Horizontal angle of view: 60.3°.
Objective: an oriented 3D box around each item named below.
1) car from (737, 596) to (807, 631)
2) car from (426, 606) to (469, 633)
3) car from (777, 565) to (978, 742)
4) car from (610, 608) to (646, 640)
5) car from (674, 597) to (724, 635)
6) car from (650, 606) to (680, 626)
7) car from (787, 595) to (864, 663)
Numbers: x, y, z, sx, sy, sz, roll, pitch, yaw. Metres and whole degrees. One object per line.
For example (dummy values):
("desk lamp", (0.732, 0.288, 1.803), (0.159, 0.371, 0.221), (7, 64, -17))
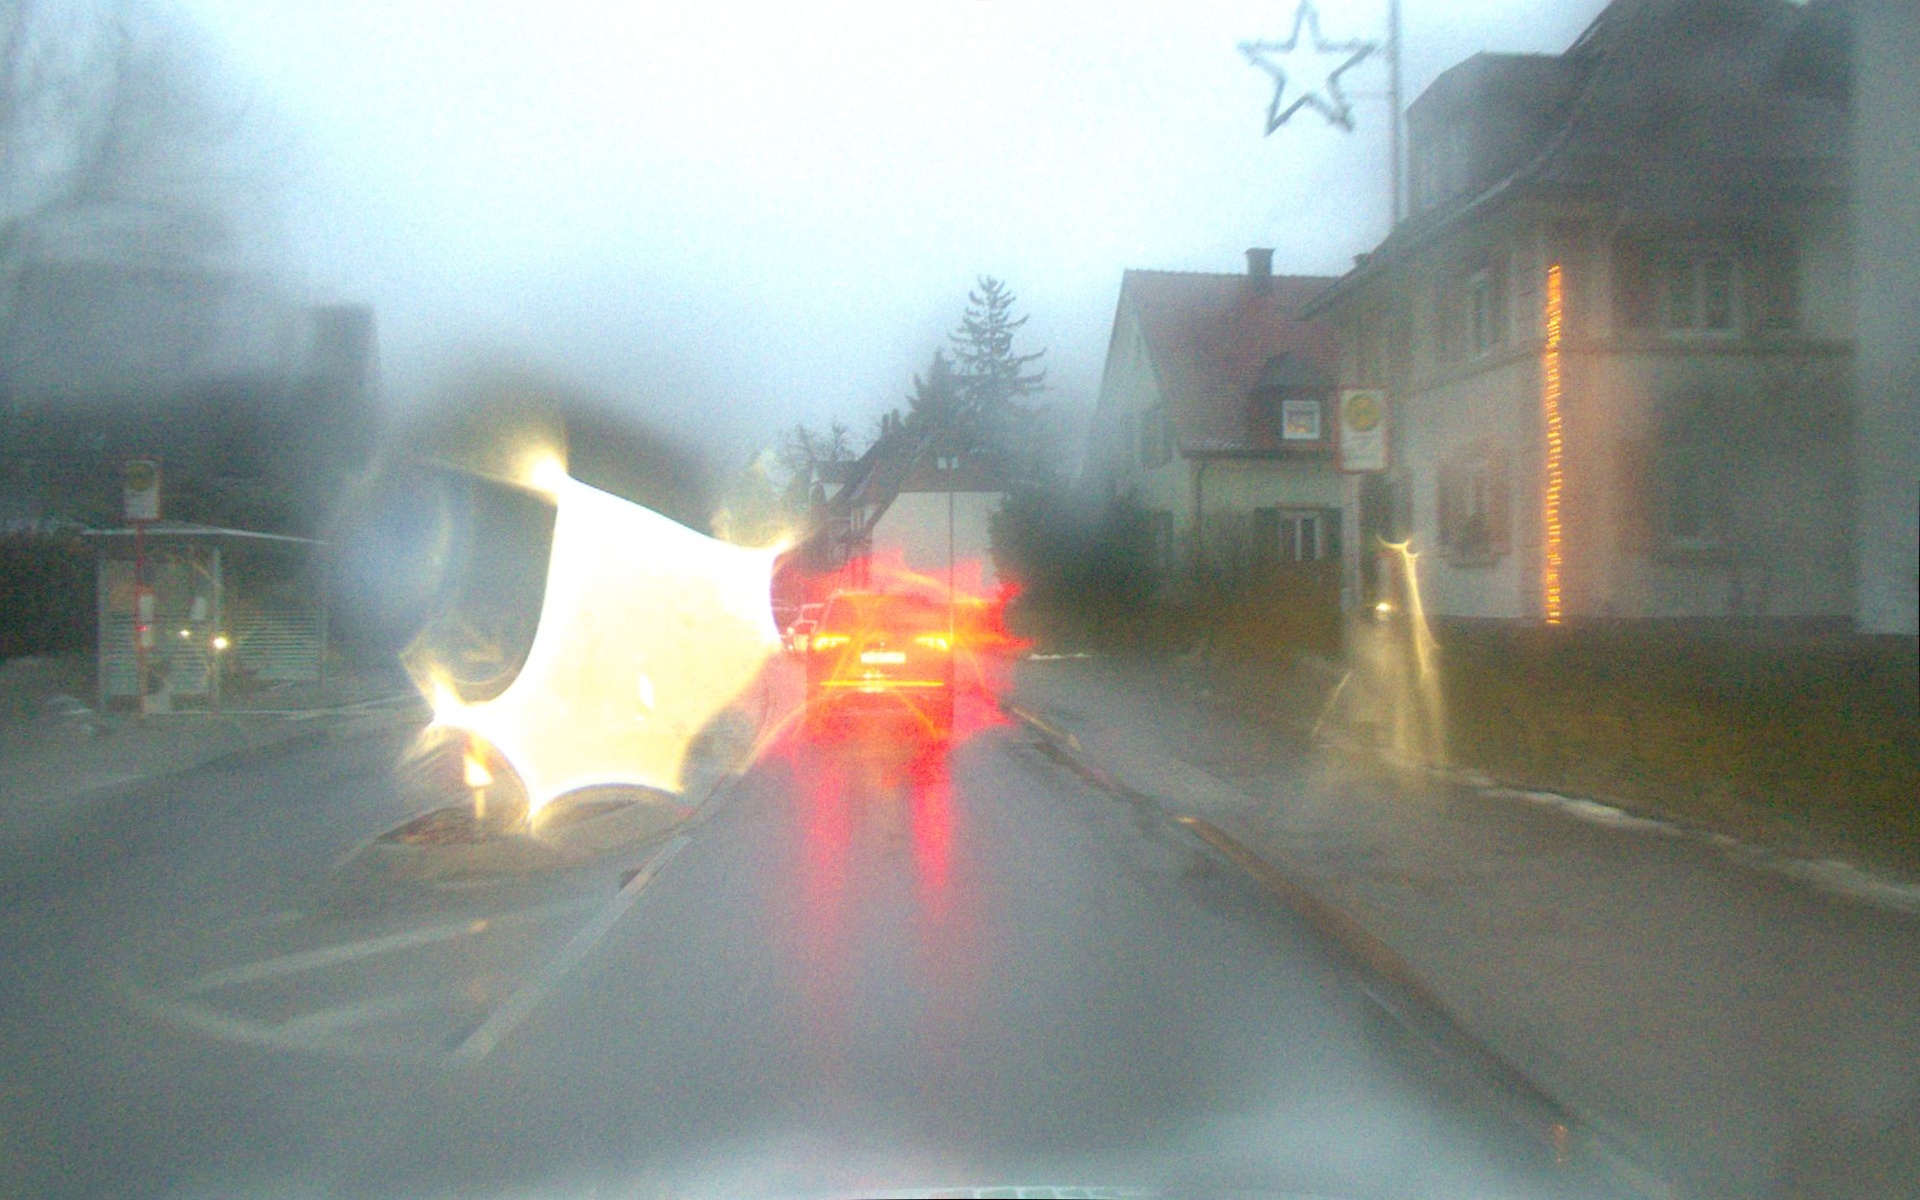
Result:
("car", (-11.532, 0.810, 101.514), (4.169, 2.049, 1.807), (-1, 0, -10))
("car", (-27.620, 1.064, 89.073), (1.753, 1.417, 3.970), (2, -1, -24))
("car", (-1.109, 0.632, 21.313), (2.264, 1.972, 5.013), (-1, -1, -4))
("car", (-17.873, 1.273, 89.028), (1.791, 1.581, 3.989), (-2, 0, -11))
("car", (-13.968, 0.862, 88.232), (2.270, 1.972, 5.001), (-1, -1, -13))
("car", (-20.934, 1.103, 117.258), (1.811, 1.355, 3.923), (-1, 0, -14))
("car", (-3.530, 0.717, 42.985), (1.822, 1.676, 3.994), (0, 0, -7))
